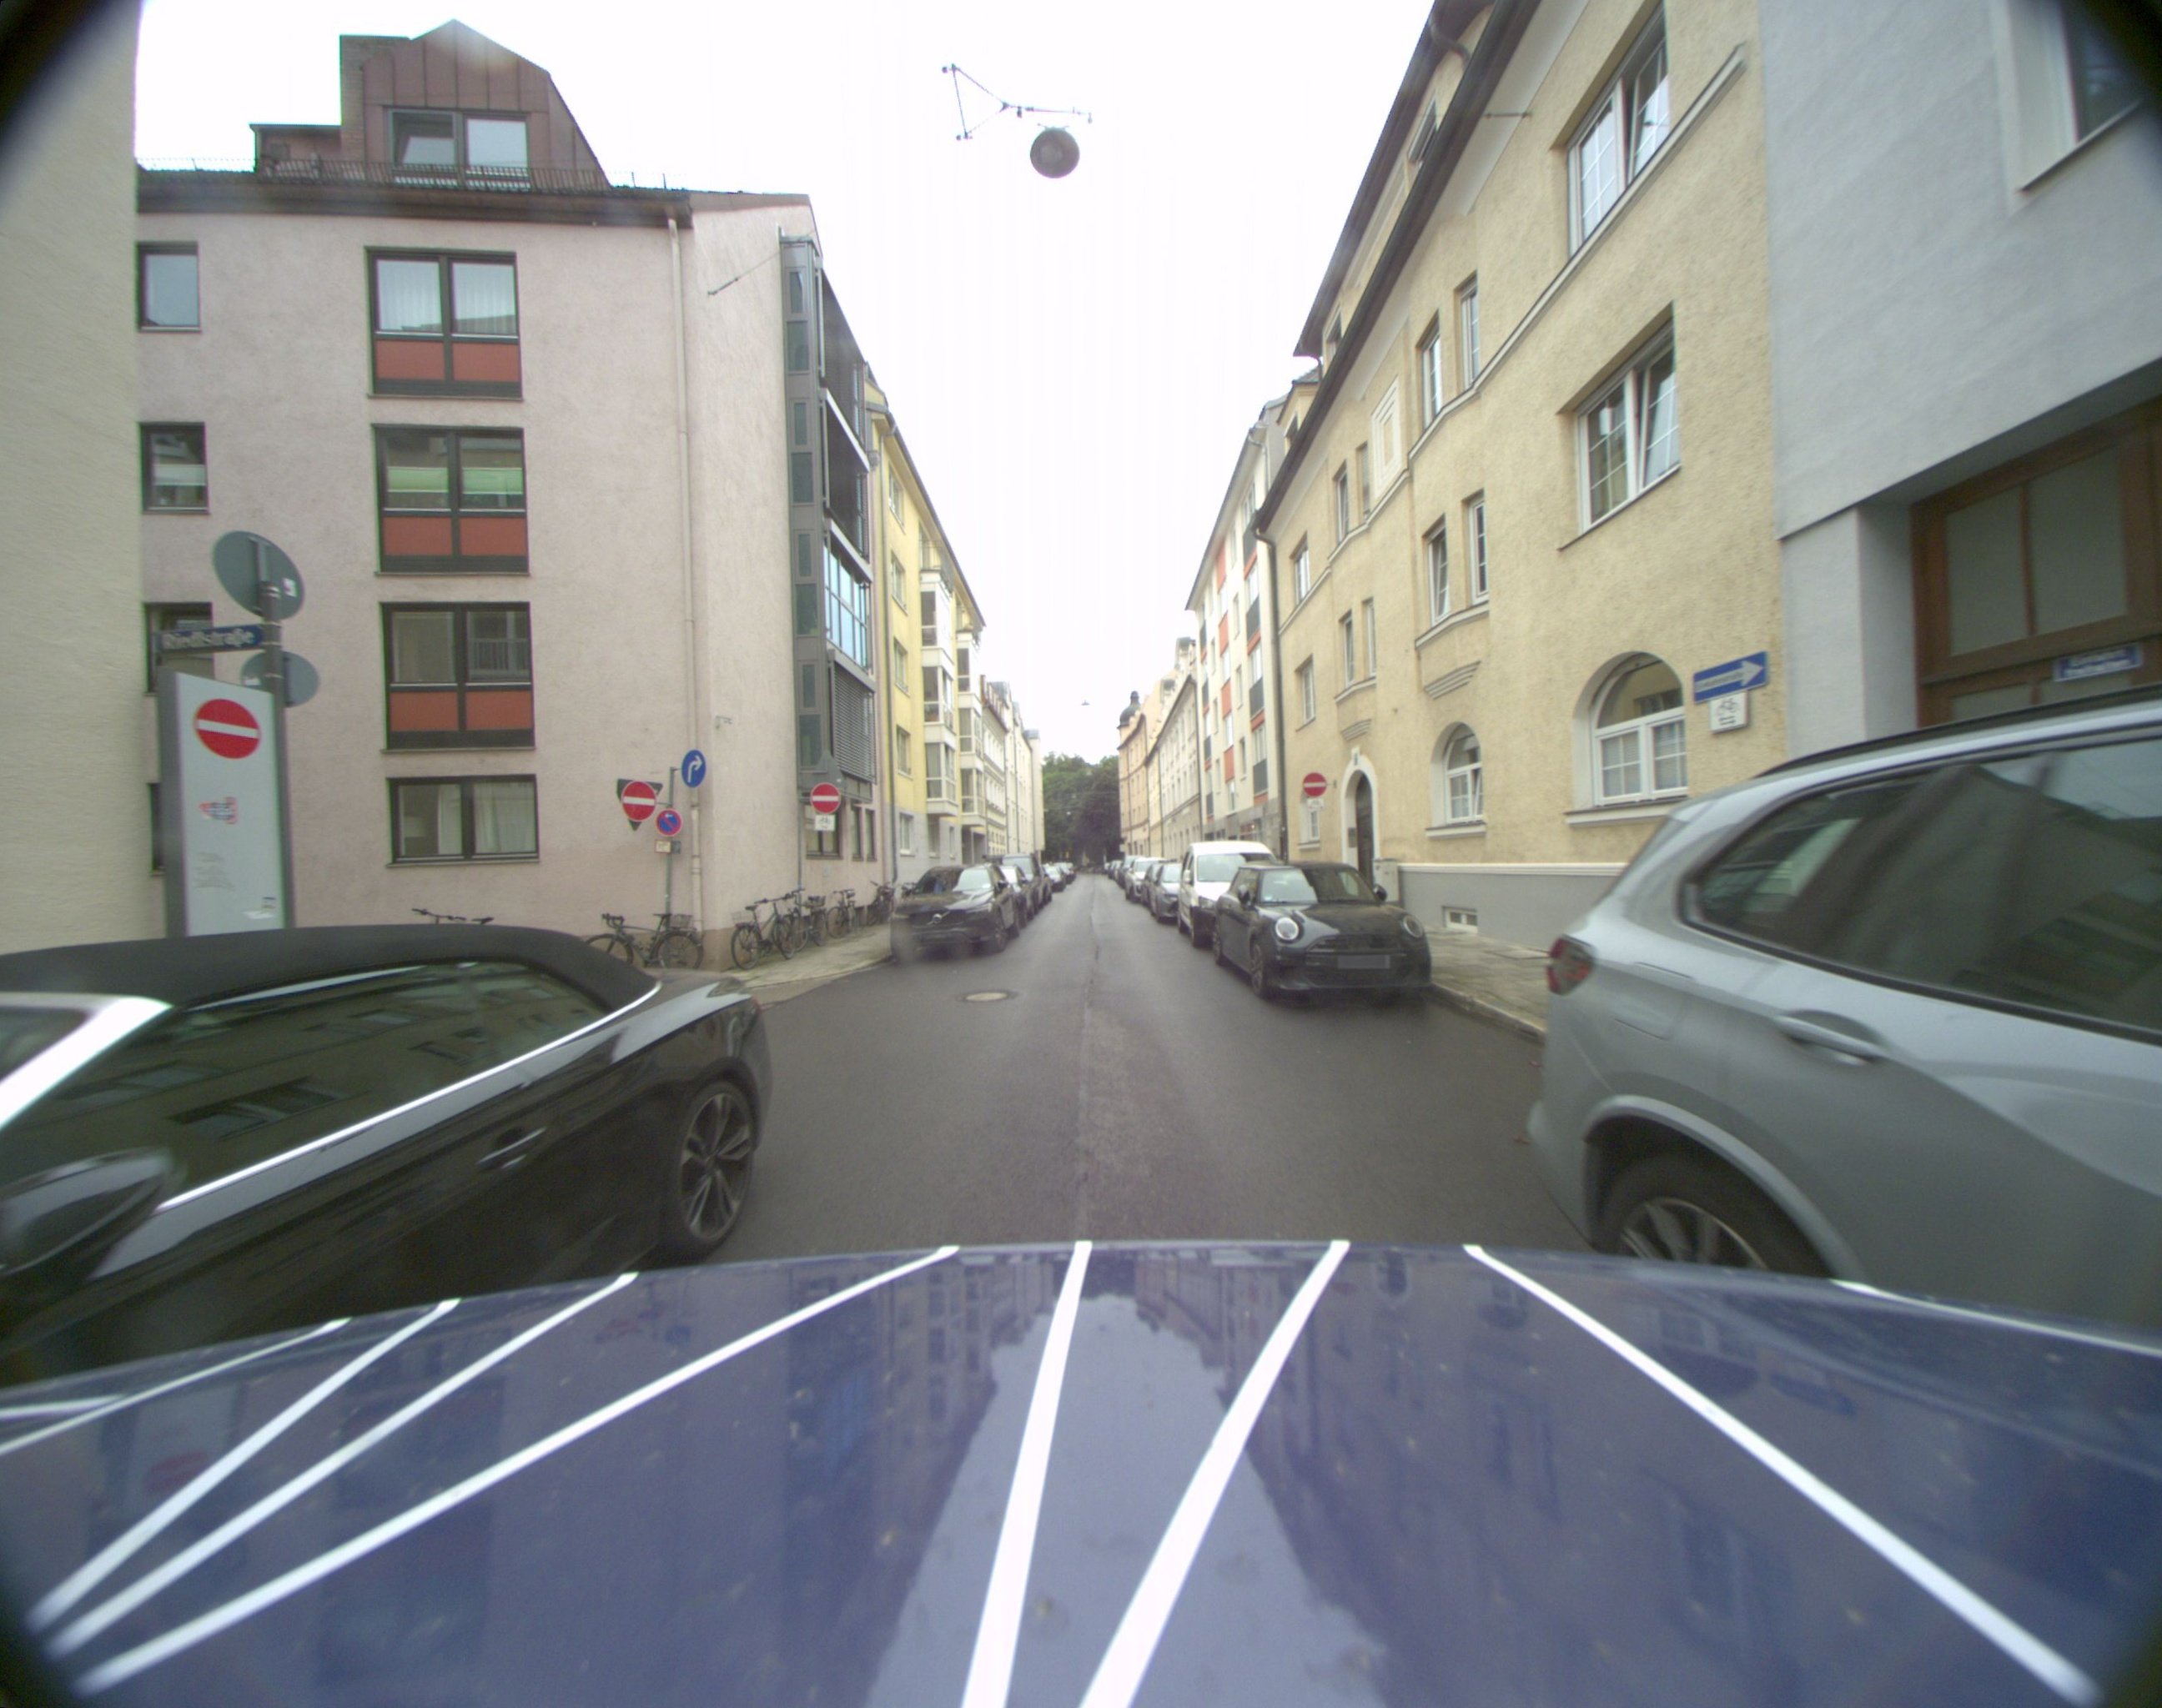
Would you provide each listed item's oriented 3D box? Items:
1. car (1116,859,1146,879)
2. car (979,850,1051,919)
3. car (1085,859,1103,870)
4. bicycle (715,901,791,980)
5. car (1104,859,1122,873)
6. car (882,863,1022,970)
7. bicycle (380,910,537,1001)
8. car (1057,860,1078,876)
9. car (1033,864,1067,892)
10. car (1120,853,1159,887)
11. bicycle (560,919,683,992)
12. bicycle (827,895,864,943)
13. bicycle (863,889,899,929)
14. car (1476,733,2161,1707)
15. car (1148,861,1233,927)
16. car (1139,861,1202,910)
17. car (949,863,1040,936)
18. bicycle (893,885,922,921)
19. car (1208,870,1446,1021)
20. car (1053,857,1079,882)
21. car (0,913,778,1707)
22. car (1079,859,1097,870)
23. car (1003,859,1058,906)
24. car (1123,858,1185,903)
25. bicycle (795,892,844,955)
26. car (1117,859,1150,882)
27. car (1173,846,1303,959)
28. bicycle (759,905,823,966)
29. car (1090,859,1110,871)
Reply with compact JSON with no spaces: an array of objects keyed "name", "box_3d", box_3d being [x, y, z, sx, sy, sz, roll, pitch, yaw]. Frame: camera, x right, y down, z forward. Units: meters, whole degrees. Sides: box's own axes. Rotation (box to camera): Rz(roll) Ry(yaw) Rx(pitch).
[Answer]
[{"name":"car","box_3d":[3.629,1.075,55.742,1.951,1.470,3.716,0,0,1]},{"name":"car","box_3d":[-2.124,0.908,25.853,1.877,2.002,5.106,-3,0,0]},{"name":"car","box_3d":[1.715,1.403,101.563,1.800,1.501,3.996,0,0,-10]},{"name":"bicycle","box_3d":[-5.218,1.351,12.174,0.552,1.119,1.357,-2,0,2]},{"name":"car","box_3d":[3.632,1.360,87.756,1.951,1.470,3.980,0,0,1]},{"name":"car","box_3d":[-2.315,1.071,14.836,1.837,1.612,4.411,-3,0,0]},{"name":"bicycle","box_3d":[-9.023,1.462,11.050,1.736,1.172,0.552,-2,0,-3]},{"name":"car","box_3d":[-1.203,1.221,68.694,1.739,1.297,3.686,-3,0,0]},{"name":"car","box_3d":[-1.809,1.339,43.768,1.749,1.432,4.227,-3,0,-3]},{"name":"car","box_3d":[3.323,0.890,43.909,1.951,1.850,4.909,0,0,1]},{"name":"bicycle","box_3d":[-6.809,1.497,11.303,1.452,0.942,0.552,-2,0,-3]},{"name":"bicycle","box_3d":[-5.229,1.426,16.907,0.358,0.942,1.269,-2,0,2]},{"name":"bicycle","box_3d":[-5.225,1.418,19.876,0.442,0.942,1.576,-2,0,2]},{"name":"car","box_3d":[2.280,0.713,0.135,1.867,1.759,4.735,0,-1,-1]},{"name":"car","box_3d":[2.678,0.939,19.410,1.676,1.466,4.112,0,0,2]},{"name":"car","box_3d":[2.831,0.967,24.749,1.632,1.466,3.842,0,-1,1]},{"name":"car","box_3d":[-2.210,1.118,20.529,1.837,1.612,4.324,-3,0,0]},{"name":"bicycle","box_3d":[-5.004,1.399,21.956,0.422,0.970,1.446,-2,0,2]},{"name":"car","box_3d":[2.630,0.899,9.037,1.656,1.403,3.735,0,-1,1]},{"name":"car","box_3d":[-1.129,1.188,58.355,1.739,1.743,3.686,-3,0,0]},{"name":"car","box_3d":[-2.471,1.043,1.529,1.837,1.398,4.411,-3,0,0]},{"name":"car","box_3d":[0.904,1.445,105.670,1.800,1.501,3.996,0,0,-10]},{"name":"car","box_3d":[-2.006,1.114,31.297,1.837,1.676,4.229,-3,0,1]},{"name":"car","box_3d":[2.708,0.950,29.176,1.785,1.595,4.308,0,-1,-2]},{"name":"bicycle","box_3d":[-5.158,1.341,15.046,0.358,1.115,1.543,-2,0,2]},{"name":"car","box_3d":[3.387,1.050,49.374,1.951,1.470,3.716,0,0,1]},{"name":"car","box_3d":[2.750,0.757,14.165,1.728,1.778,4.249,0,1,3]},{"name":"bicycle","box_3d":[-5.127,1.426,13.522,0.552,0.942,1.357,-2,0,2]},{"name":"car","box_3d":[2.456,1.401,97.362,1.800,1.501,3.996,0,0,-10]}]
